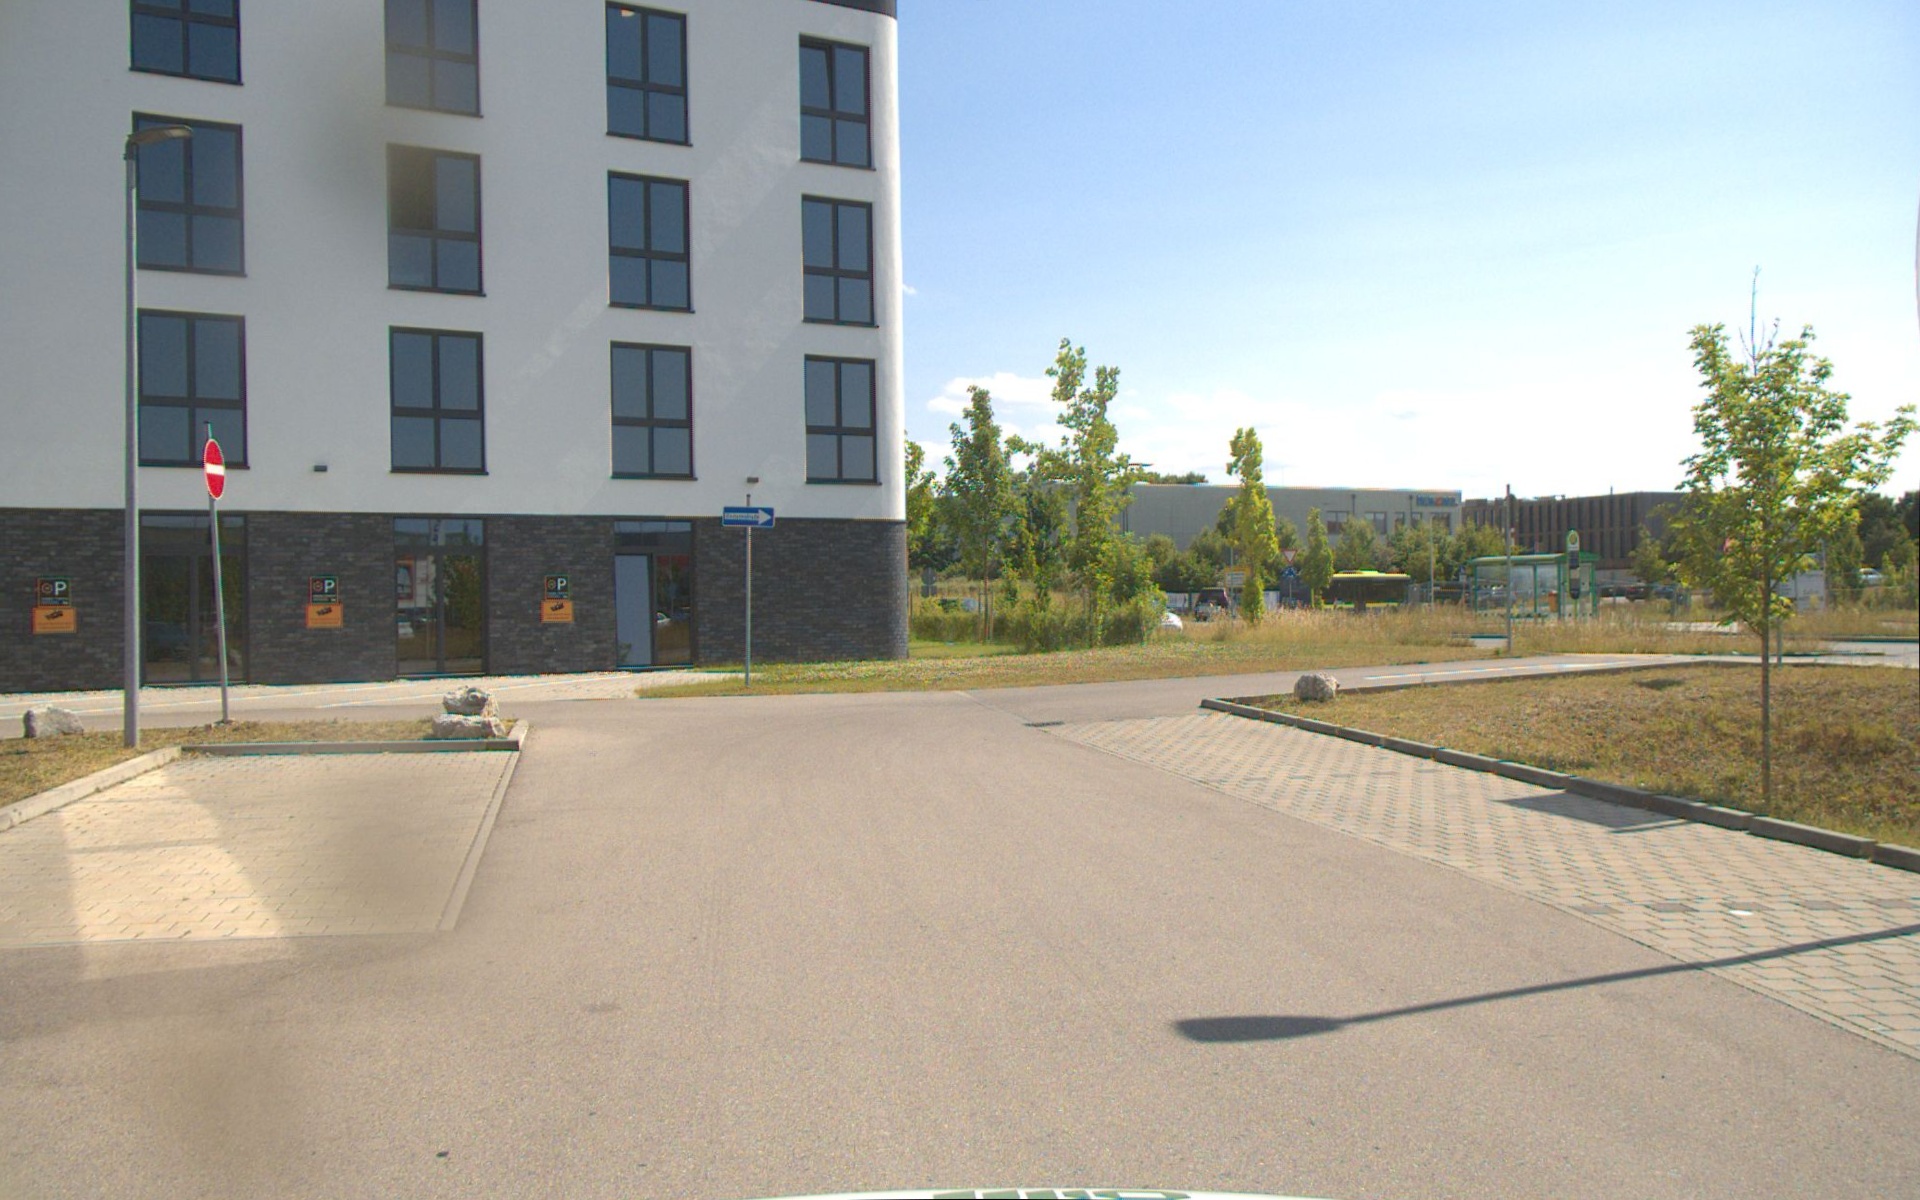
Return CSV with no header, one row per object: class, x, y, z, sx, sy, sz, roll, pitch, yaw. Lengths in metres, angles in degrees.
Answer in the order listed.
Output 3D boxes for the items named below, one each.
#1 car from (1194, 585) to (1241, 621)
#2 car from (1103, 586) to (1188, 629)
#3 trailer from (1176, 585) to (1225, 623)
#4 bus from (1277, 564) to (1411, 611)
car,13.830,0.143,88.774,1.784,1.892,4.001,0,0,19
car,6.981,0.263,62.506,1.711,1.578,3.760,0,0,-21
trailer,12.401,0.180,85.114,1.784,1.892,4.001,0,0,19
bus,24.566,-0.860,105.319,11.483,2.783,2.538,-2,1,-45
